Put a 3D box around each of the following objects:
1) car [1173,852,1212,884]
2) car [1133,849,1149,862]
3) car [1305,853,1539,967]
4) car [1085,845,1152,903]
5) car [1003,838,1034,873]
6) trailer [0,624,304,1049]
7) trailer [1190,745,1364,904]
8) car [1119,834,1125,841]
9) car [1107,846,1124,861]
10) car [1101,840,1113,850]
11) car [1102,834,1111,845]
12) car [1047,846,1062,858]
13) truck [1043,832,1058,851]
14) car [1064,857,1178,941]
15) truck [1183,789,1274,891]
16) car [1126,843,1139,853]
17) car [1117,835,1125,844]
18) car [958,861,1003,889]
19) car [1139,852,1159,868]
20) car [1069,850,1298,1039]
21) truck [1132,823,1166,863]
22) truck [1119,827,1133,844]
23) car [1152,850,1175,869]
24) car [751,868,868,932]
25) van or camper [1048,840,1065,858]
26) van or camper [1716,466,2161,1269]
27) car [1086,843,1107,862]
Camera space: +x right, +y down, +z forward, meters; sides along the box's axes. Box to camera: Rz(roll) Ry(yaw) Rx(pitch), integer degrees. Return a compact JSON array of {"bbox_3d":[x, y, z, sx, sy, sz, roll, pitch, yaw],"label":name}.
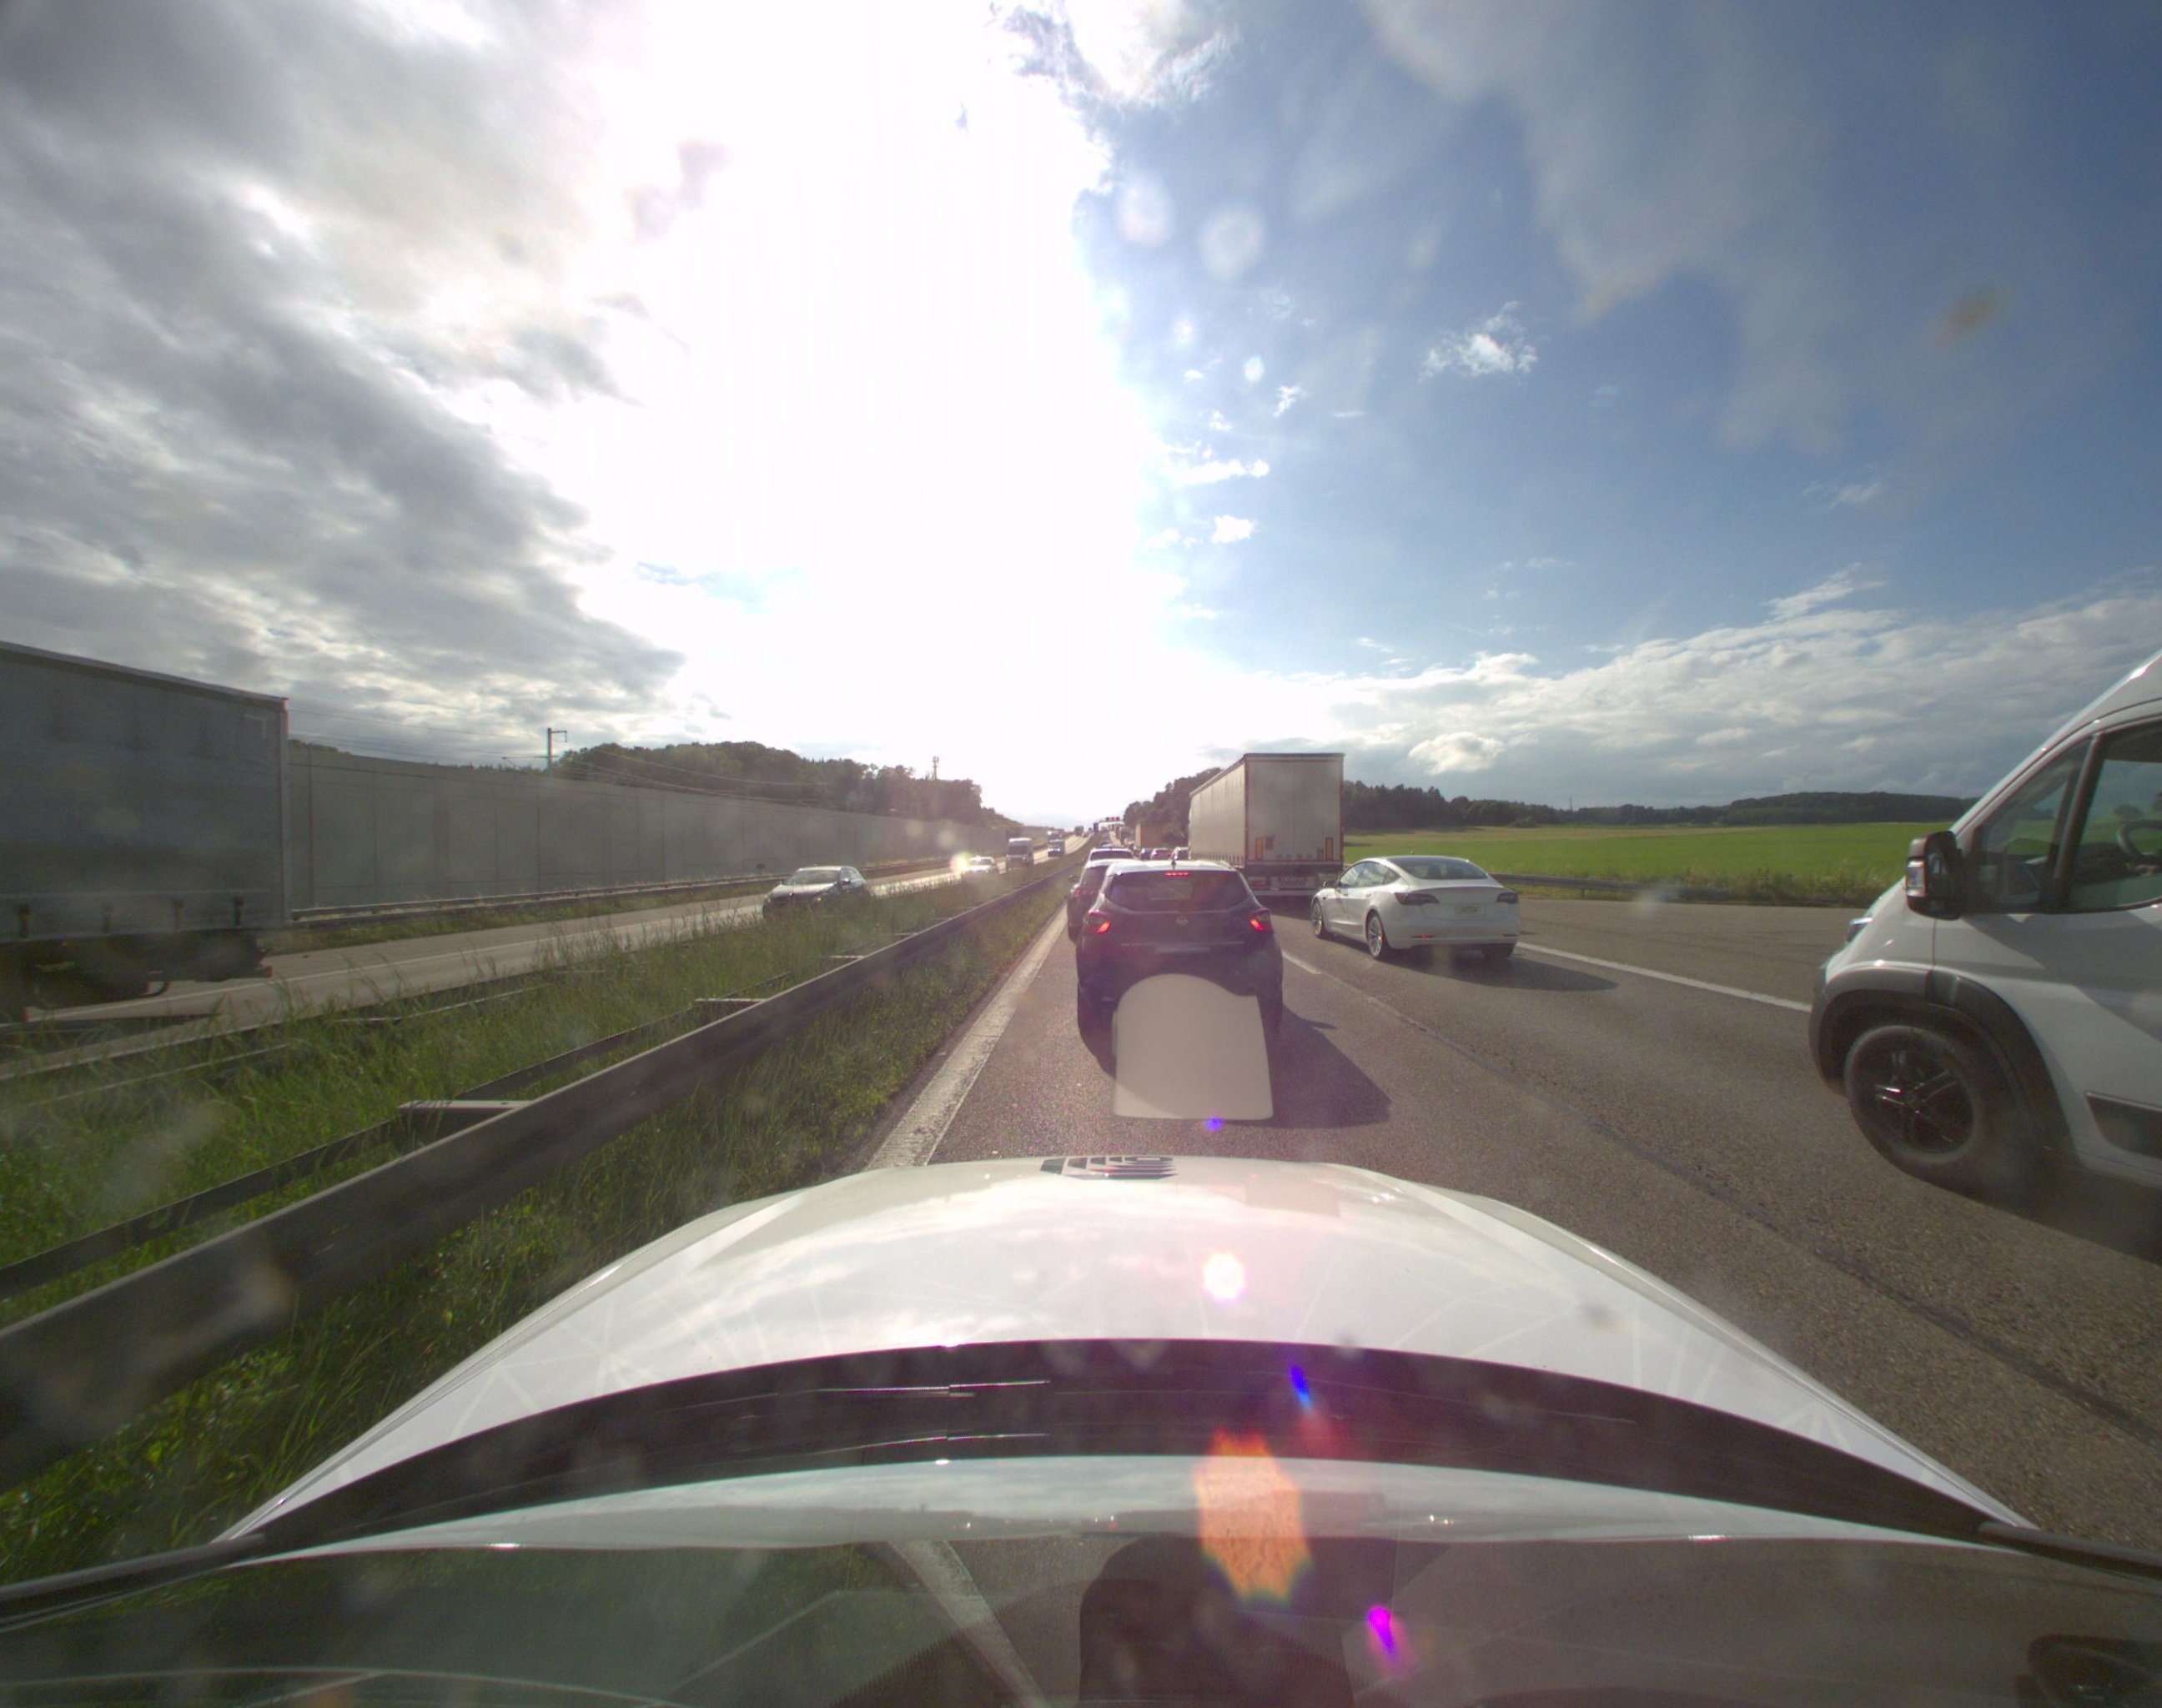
[{"bbox_3d":[6.074,0.748,44.778,1.690,1.610,4.440,-1,0,3],"label":"car"},{"bbox_3d":[8.268,0.158,111.963,1.867,1.644,4.231,-1,0,0],"label":"car"},{"bbox_3d":[4.893,0.703,12.454,1.782,1.394,4.437,-1,0,1],"label":"car"},{"bbox_3d":[1.158,0.587,25.594,1.866,1.644,4.234,-1,0,2],"label":"car"},{"bbox_3d":[-5.344,0.166,70.603,2.096,2.870,5.637,-2,0,1],"label":"car"},{"bbox_3d":[-11.815,-0.133,3.925,2.780,4.077,13.523,-3,0,1],"label":"trailer"},{"bbox_3d":[5.843,-0.629,27.285,3.118,4.011,13.373,-1,-1,2],"label":"trailer"},{"bbox_3d":[12.875,-5.243,255.597,1.866,2.158,5.214,-1,3,2],"label":"car"},{"bbox_3d":[3.980,-0.054,94.085,1.866,1.644,4.235,-1,1,2],"label":"car"},{"bbox_3d":[4.265,-1.473,134.384,1.867,1.644,4.233,-1,1,1],"label":"car"},{"bbox_3d":[5.555,-3.156,177.981,1.866,2.158,5.214,-1,3,2],"label":"car"},{"bbox_3d":[-3.905,-0.237,121.799,1.903,1.671,4.363,-1,-1,1],"label":"car"},{"bbox_3d":[-6.580,-2.619,177.149,2.573,3.923,5.724,-2,0,2],"label":"truck"},{"bbox_3d":[0.741,0.763,15.700,1.866,1.358,4.234,-1,0,2],"label":"car"},{"bbox_3d":[6.143,-0.513,34.710,3.121,4.016,5.166,-1,-1,2],"label":"truck"},{"bbox_3d":[9.030,-1.145,143.447,1.868,1.644,4.230,-1,1,-1],"label":"car"},{"bbox_3d":[9.909,-3.598,200.381,1.866,2.158,5.214,-1,3,2],"label":"car"},{"bbox_3d":[-5.647,1.161,46.331,1.866,1.451,4.234,-1,0,2],"label":"car"},{"bbox_3d":[7.320,0.592,87.567,1.866,1.644,4.234,-1,0,2],"label":"car"},{"bbox_3d":[0.885,0.724,8.546,1.766,1.451,4.234,-1,0,2],"label":"car"},{"bbox_3d":[8.283,-1.223,101.021,3.286,4.577,12.440,0,-1,1],"label":"truck"},{"bbox_3d":[12.378,-5.121,225.982,3.452,4.576,12.442,0,1,1],"label":"truck"},{"bbox_3d":[7.857,0.491,77.933,1.866,1.644,4.234,-1,1,2],"label":"car"},{"bbox_3d":[-7.014,1.133,21.460,1.646,1.451,3.957,-1,0,2],"label":"car"},{"bbox_3d":[-3.802,-0.721,127.574,2.244,2.704,7.172,-1,0,1],"label":"van or camper"},{"bbox_3d":[4.682,0.027,1.456,2.207,2.681,6.334,-1,0,1],"label":"van or camper"},{"bbox_3d":[1.448,-0.143,75.867,1.866,1.644,4.234,-1,1,2],"label":"car"}]
